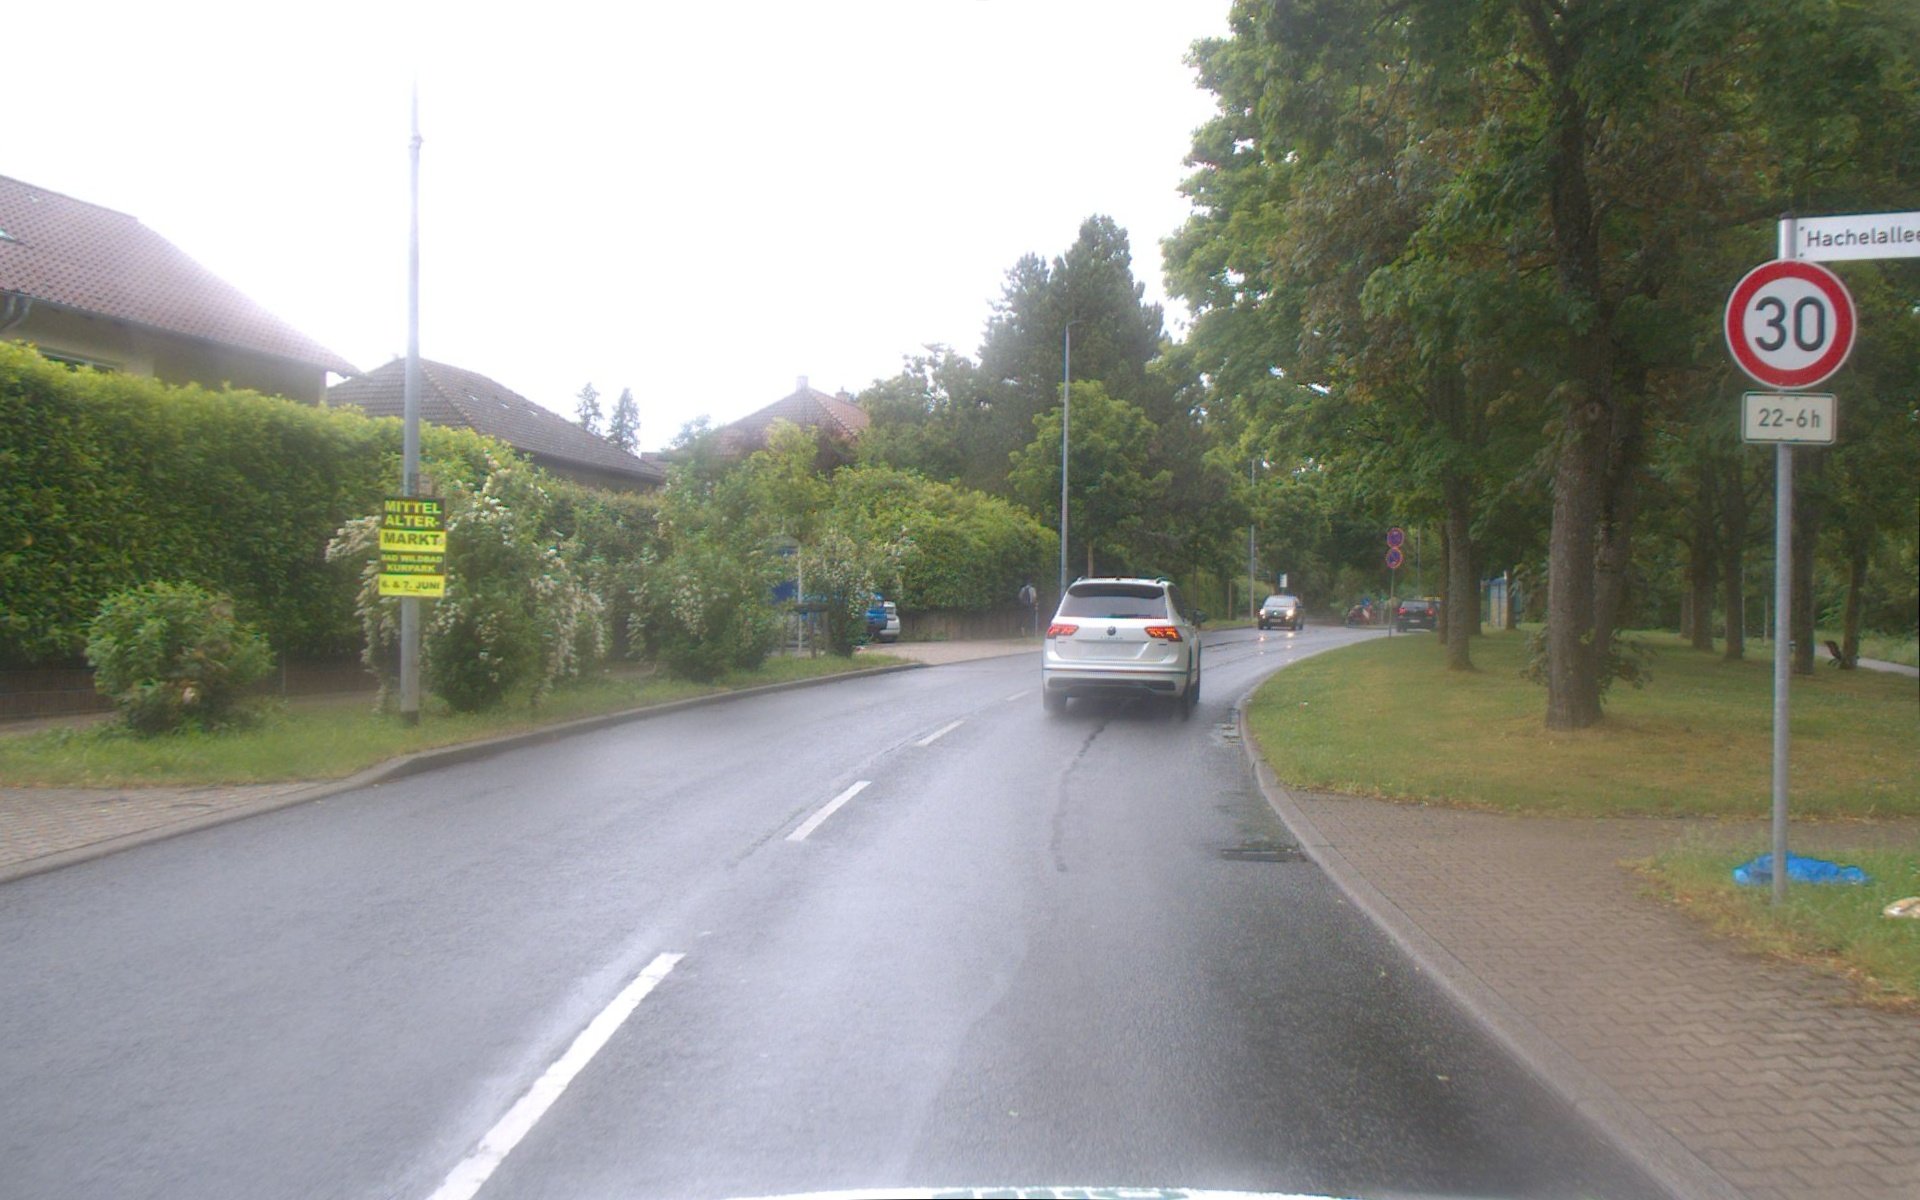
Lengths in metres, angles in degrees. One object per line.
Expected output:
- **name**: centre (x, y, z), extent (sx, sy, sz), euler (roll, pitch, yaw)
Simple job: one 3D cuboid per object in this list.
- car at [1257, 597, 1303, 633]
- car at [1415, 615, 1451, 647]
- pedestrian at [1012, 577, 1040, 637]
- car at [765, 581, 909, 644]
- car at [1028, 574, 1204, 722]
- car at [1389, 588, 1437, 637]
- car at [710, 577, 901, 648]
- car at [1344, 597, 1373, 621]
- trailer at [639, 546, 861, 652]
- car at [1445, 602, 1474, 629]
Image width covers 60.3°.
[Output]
- **car**: centre (13.883, 0.628, 71.683), extent (1.550, 1.503, 3.898), euler (0, 0, 17)
- **car**: centre (28.349, 1.854, 99.148), extent (1.952, 1.790, 4.002), euler (2, -1, 17)
- **pedestrian**: centre (1.903, 0.190, 47.825), extent (0.760, 1.691, 0.844), euler (1, 0, 4)
- **car**: centre (-3.206, 0.320, 43.316), extent (3.331, 1.545, 1.732), euler (1, 0, 15)
- **car**: centre (2.116, 0.553, 21.337), extent (1.932, 1.682, 4.180), euler (1, 0, 10)
- **car**: centre (20.340, 0.583, 74.386), extent (1.861, 2.049, 3.947), euler (2, -1, 13)
- **car**: centre (-3.717, 0.292, 40.099), extent (4.148, 1.566, 2.053), euler (1, 0, 15)
- **car**: centre (31.695, 0.728, 131.500), extent (1.952, 1.793, 4.001), euler (2, -1, 17)
- **trailer**: centre (-4.662, -0.040, 36.853), extent (4.522, 2.209, 1.816), euler (1, 0, 15)
- **car**: centre (36.889, 1.176, 122.275), extent (1.952, 1.836, 4.002), euler (2, -1, 17)
